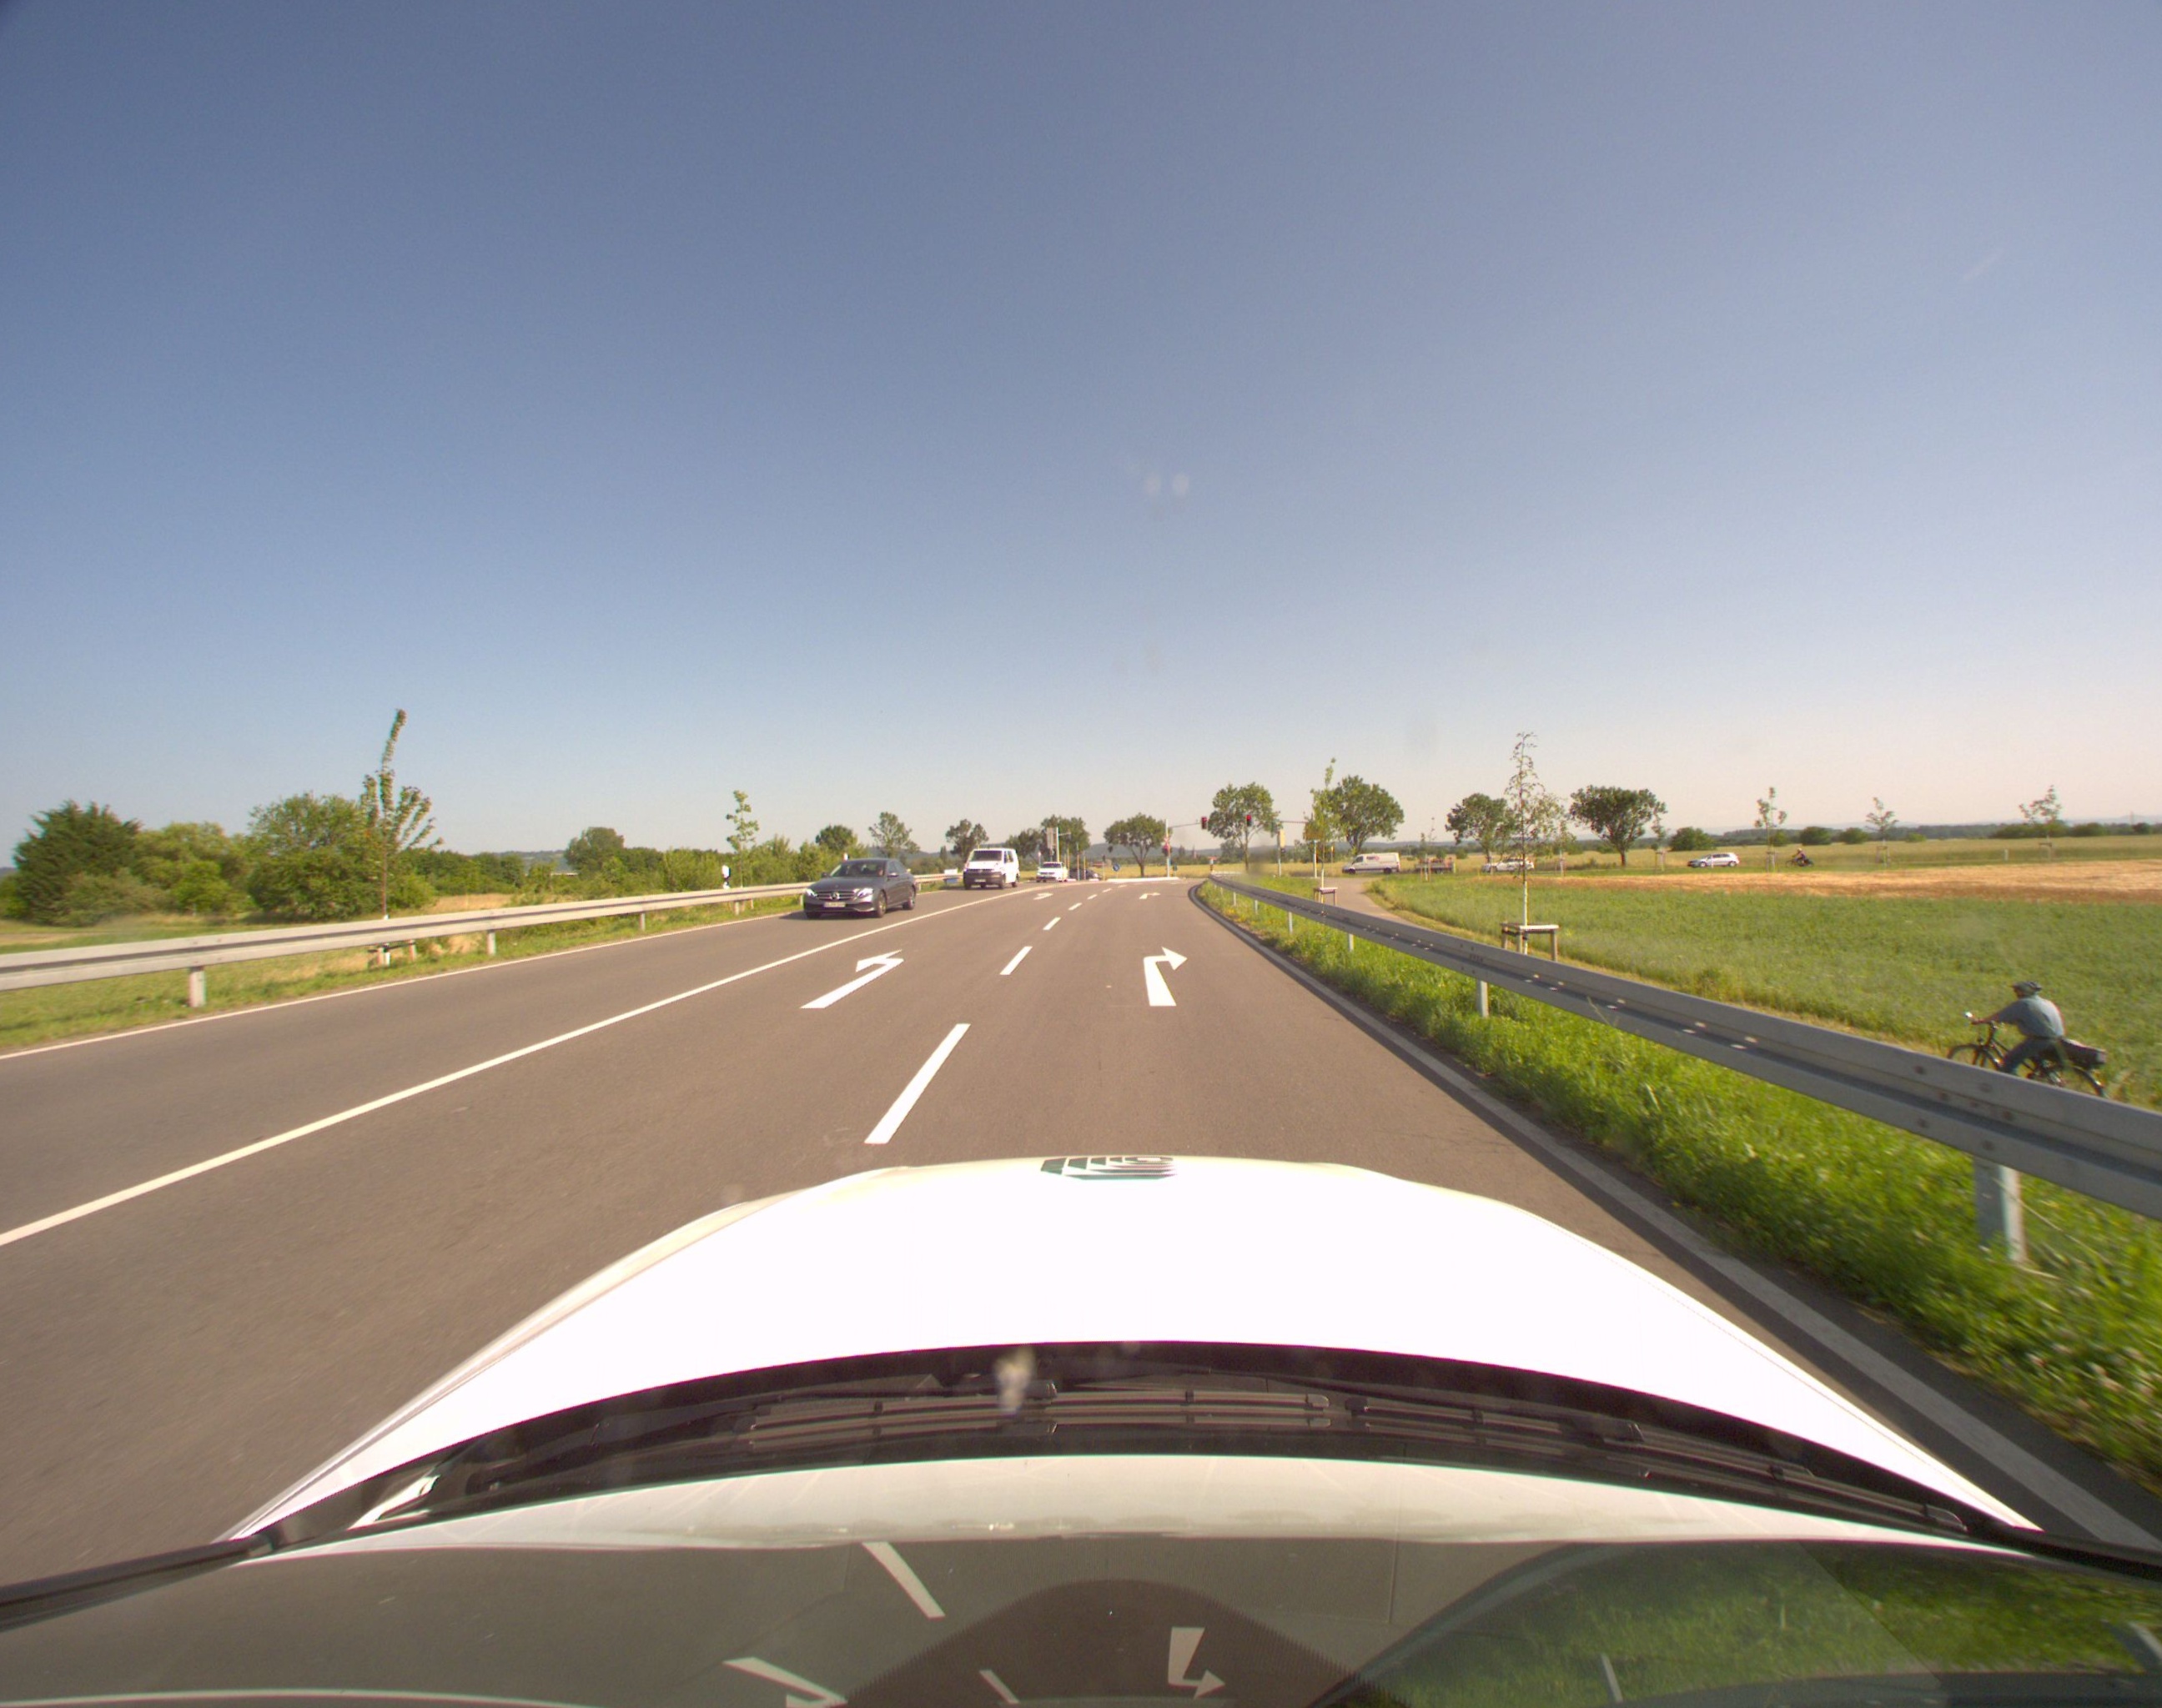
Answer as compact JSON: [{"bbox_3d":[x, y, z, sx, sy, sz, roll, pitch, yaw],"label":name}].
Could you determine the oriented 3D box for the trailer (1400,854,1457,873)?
[{"bbox_3d":[35.967,1.011,84.427,5.217,1.753,1.963,-2,-2,19],"label":"trailer"}]

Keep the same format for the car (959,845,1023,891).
[{"bbox_3d":[-4.269,0.605,39.649,2.105,2.013,5.162,0,2,5],"label":"car"}]

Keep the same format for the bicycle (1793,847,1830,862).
[{"bbox_3d":[61.178,0.011,68.210,2.139,1.186,0.894,-1,-2,16],"label":"bicycle"}]

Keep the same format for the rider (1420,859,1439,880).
[{"bbox_3d":[27.372,1.201,63.980,0.823,1.643,0.982,-2,0,-27],"label":"rider"}]

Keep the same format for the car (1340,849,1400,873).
[{"bbox_3d":[30.606,0.733,86.300,5.908,2.493,2.009,0,-2,19],"label":"car"}]

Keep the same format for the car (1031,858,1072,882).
[{"bbox_3d":[-2.059,1.104,58.189,2.104,1.493,5.164,0,2,7],"label":"car"}]

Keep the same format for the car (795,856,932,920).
[{"bbox_3d":[-5.530,0.805,21.405,1.785,1.448,4.715,-1,0,7],"label":"car"}]

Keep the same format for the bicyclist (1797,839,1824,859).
[{"bbox_3d":[61.033,-0.432,68.171,1.269,1.601,1.170,-1,0,17],"label":"bicyclist"}]

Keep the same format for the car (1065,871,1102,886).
[{"bbox_3d":[0.306,2.830,93.873,3.923,1.668,1.772,0,-2,18],"label":"car"}]

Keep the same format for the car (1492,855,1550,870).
[{"bbox_3d":[44.276,0.857,81.987,4.831,1.510,2.008,0,-2,16],"label":"car"}]
